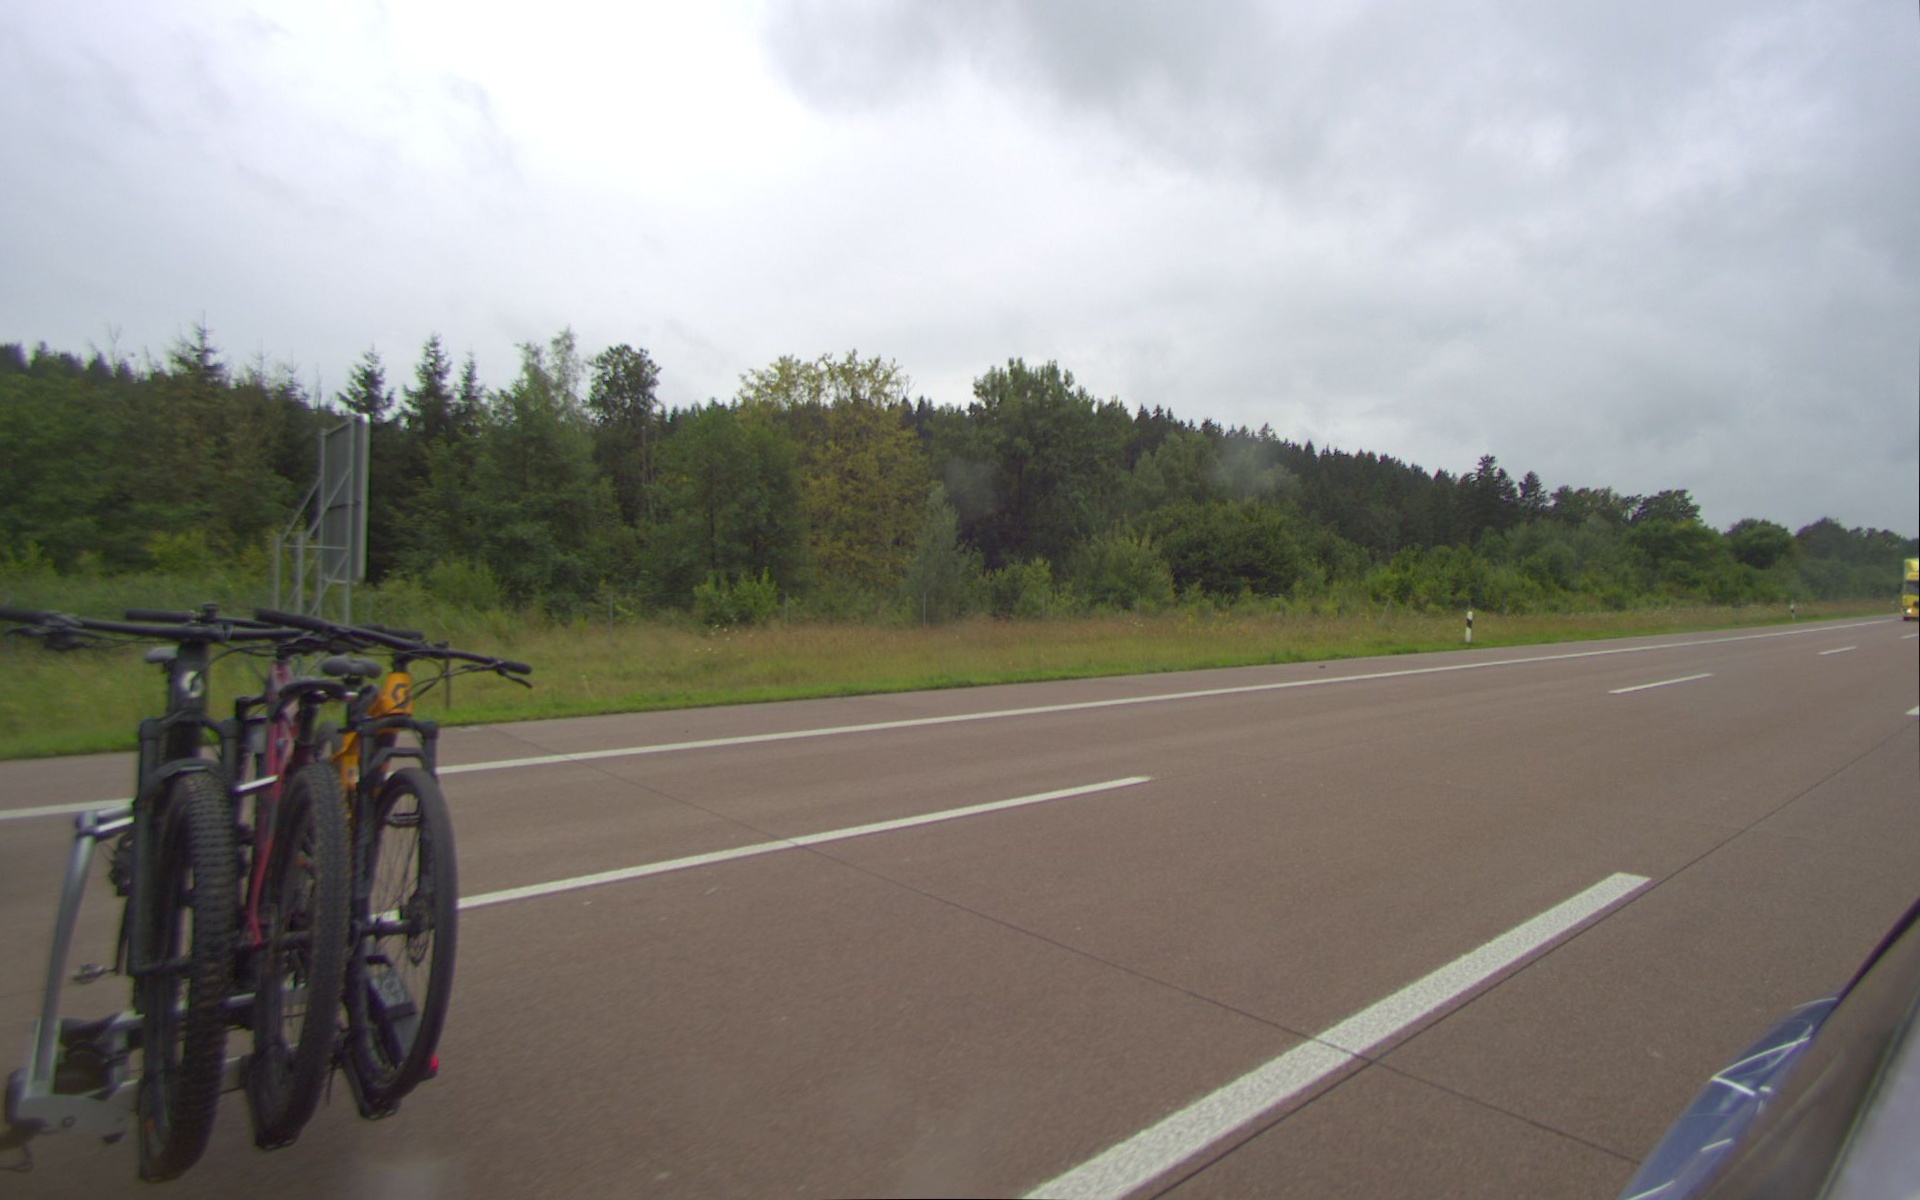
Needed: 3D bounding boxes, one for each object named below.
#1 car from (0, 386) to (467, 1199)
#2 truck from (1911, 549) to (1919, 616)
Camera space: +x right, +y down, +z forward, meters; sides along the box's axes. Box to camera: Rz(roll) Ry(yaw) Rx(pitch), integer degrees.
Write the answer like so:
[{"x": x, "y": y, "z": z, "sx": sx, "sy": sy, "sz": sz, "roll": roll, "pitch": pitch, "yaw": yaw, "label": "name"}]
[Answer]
[{"x": -3.791, "y": 0.527, "z": 0.894, "sx": 5.719, "sy": 1.612, "sz": 1.997, "roll": -2, "pitch": 1, "yaw": -41, "label": "car"}, {"x": 64.551, "y": -1.195, "z": 66.214, "sx": 6.140, "sy": 4.267, "sz": 2.609, "roll": -2, "pitch": 1, "yaw": -40, "label": "truck"}]
